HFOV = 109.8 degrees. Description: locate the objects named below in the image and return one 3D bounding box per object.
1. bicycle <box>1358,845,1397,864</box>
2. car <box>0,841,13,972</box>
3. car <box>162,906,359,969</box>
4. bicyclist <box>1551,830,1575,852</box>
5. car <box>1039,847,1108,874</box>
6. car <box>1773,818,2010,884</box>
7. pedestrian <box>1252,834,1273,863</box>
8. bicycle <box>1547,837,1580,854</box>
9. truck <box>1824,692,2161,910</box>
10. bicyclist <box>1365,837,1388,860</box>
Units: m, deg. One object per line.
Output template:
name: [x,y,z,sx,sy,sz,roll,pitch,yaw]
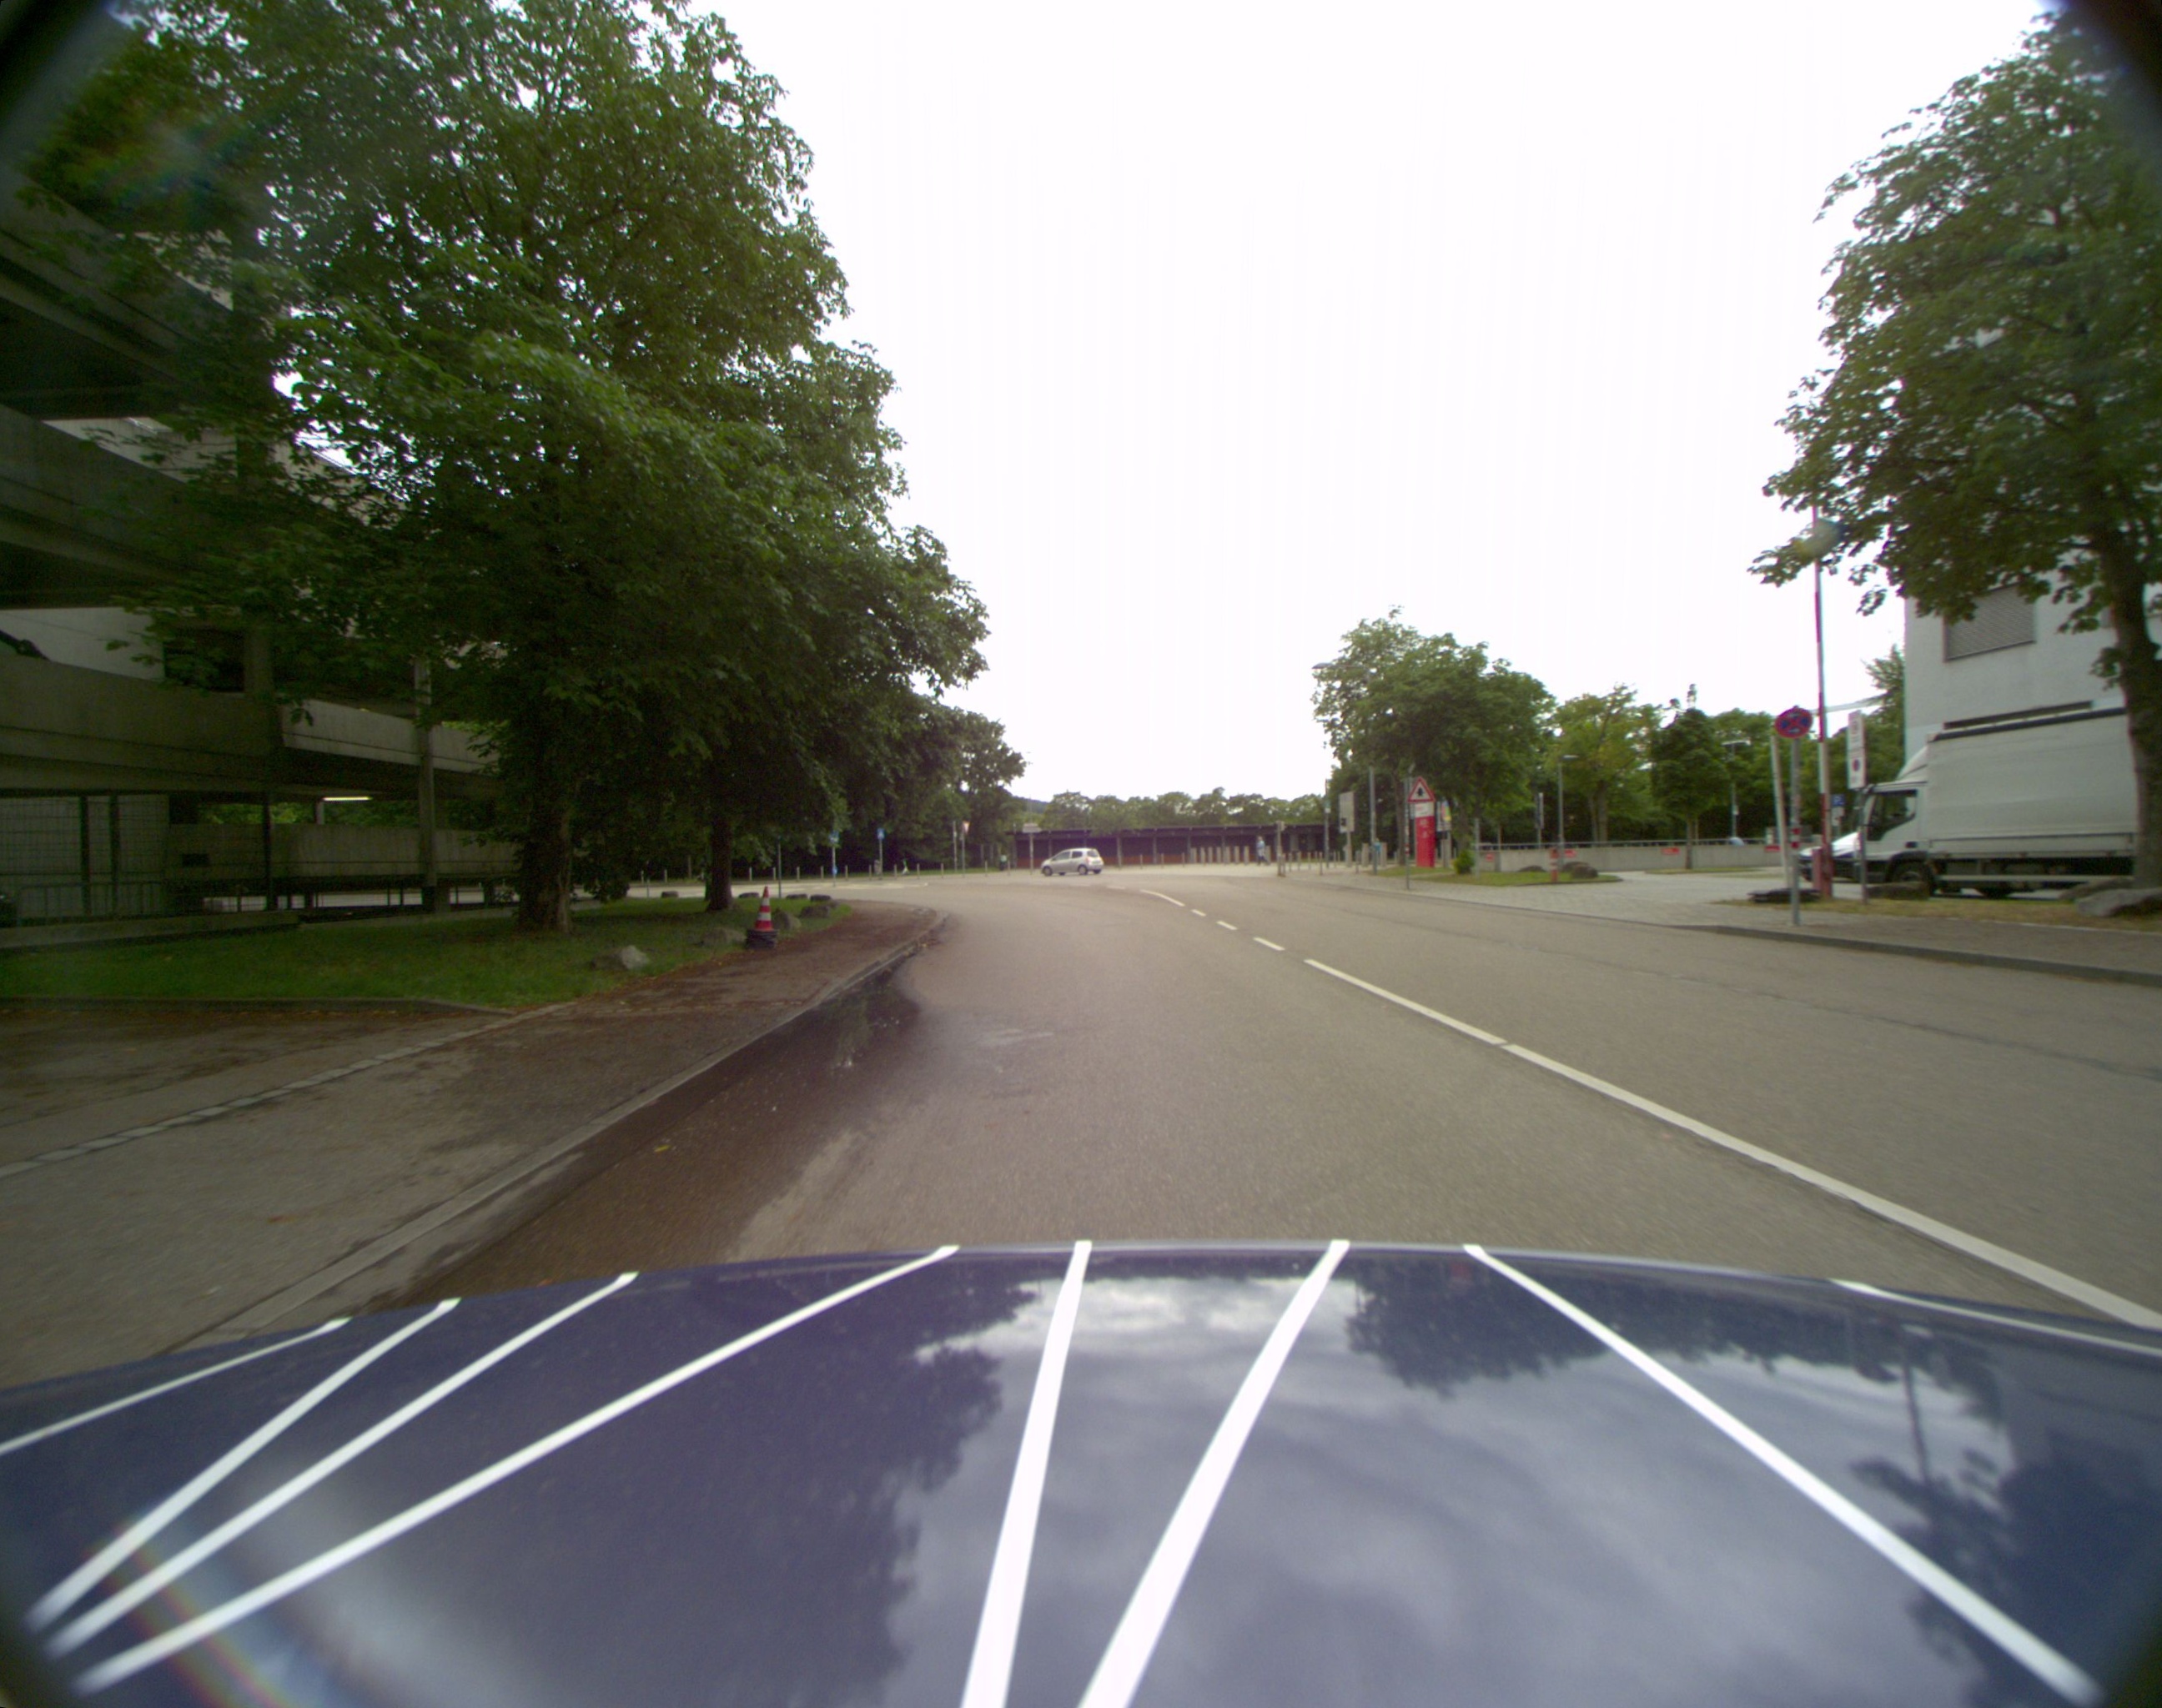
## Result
bicycle: [19.096,0.006,48.961,2.257,1.117,0.748,-2,2,-5]
car: [-15.936,0.769,8.266,1.924,1.824,4.735,-2,0,-1]
car: [-26.319,2.624,24.601,1.876,1.445,3.999,-2,1,2]
bicyclist: [34.481,-0.956,54.340,1.102,1.487,0.926,-3,3,-11]
car: [-0.426,0.374,43.037,3.494,1.448,1.610,-1,2,31]
car: [24.311,-0.105,22.886,5.335,1.683,2.097,-2,1,-6]
pedestrian: [11.879,-0.353,49.678,1.199,1.824,0.928,-1,3,18]
bicycle: [34.499,-0.615,54.352,2.052,1.137,0.777,-3,3,-11]
truck: [18.996,-0.935,13.676,2.684,3.580,8.360,-2,1,-4]
bicyclist: [19.040,-0.333,48.951,1.159,1.422,0.742,-2,2,-5]
